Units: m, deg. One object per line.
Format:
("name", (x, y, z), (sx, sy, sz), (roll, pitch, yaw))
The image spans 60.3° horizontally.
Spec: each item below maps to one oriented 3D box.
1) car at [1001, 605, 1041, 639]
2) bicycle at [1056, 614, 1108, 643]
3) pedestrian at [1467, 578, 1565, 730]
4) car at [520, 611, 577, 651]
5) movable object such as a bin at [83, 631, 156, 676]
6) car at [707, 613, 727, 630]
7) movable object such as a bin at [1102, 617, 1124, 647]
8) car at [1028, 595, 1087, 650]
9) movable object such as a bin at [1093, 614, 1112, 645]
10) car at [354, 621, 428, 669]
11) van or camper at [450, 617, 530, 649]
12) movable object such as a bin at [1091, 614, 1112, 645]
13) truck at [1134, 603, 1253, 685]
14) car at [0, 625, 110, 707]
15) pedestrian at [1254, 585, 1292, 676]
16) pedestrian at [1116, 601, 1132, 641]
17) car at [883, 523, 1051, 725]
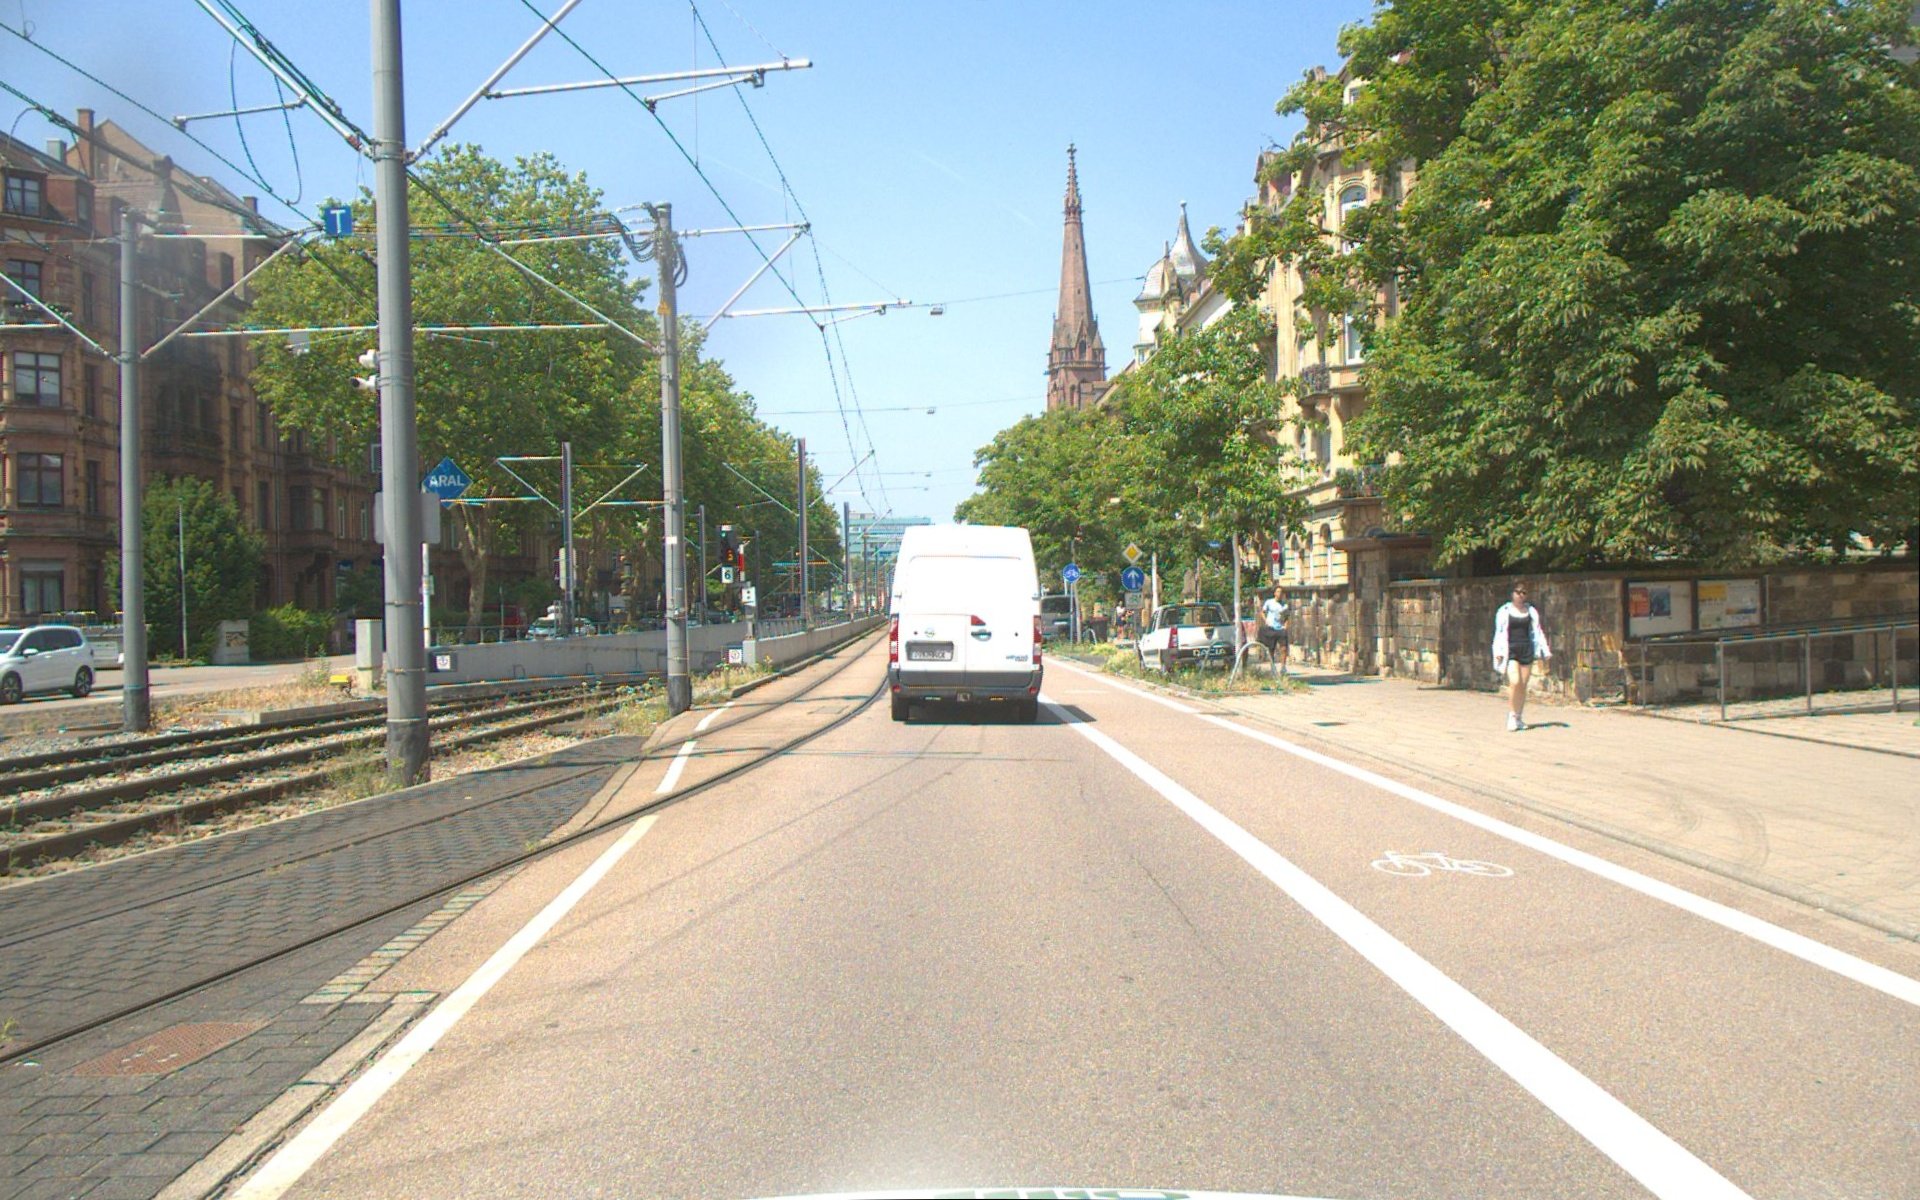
("car", (2.908, 1.025, 79.513), (1.633, 1.557, 4.012), (-2, 0, -1))
("bicycle", (4.489, 1.044, 61.003), (1.847, 1.009, 0.469), (-1, 0, -11))
("pedestrian", (6.377, 0.606, 19.002), (0.777, 1.679, 0.967), (-1, 0, 0))
("car", (-20.705, 1.527, 83.365), (1.954, 1.938, 4.714), (-1, 0, -4))
("movable object such as a bin", (-28.427, 1.800, 55.967), (1.747, 1.409, 1.469), (-1, 0, -3))
("car", (-21.621, 1.940, 147.266), (1.345, 1.448, 3.087), (-2, 0, -1))
("movable object such as a bin", (5.377, 1.129, 58.147), (0.771, 1.031, 0.650), (-1, 0, 5))
("car", (3.775, 0.850, 64.780), (1.841, 1.981, 4.835), (-3, 0, -1))
("movable object such as a bin", (5.066, 1.056, 58.849), (0.655, 1.080, 0.496), (-1, 0, 5))
("car", (-21.624, 1.690, 62.946), (1.620, 1.714, 3.705), (-1, 0, -2))
("van or camper", (-29.829, 2.096, 105.058), (4.448, 1.869, 1.933), (-1, 0, 4))
("movable object such as a bin", (5.087, 1.057, 59.561), (0.730, 1.081, 0.496), (-1, 0, 5))
("truck", (4.730, 0.859, 34.086), (1.753, 1.553, 4.464), (-1, 0, -1))
("car", (-20.837, 1.447, 36.416), (1.809, 1.653, 4.601), (-3, 0, -1))
("pedestrian", (6.296, 0.610, 33.280), (0.608, 1.785, 0.678), (-1, 0, 0))
("pedestrian", (6.639, 0.845, 66.910), (0.540, 1.626, 0.728), (-1, 0, 1))
("car", (-0.015, 0.302, 23.346), (2.074, 2.502, 5.052), (-1, 0, -2))
